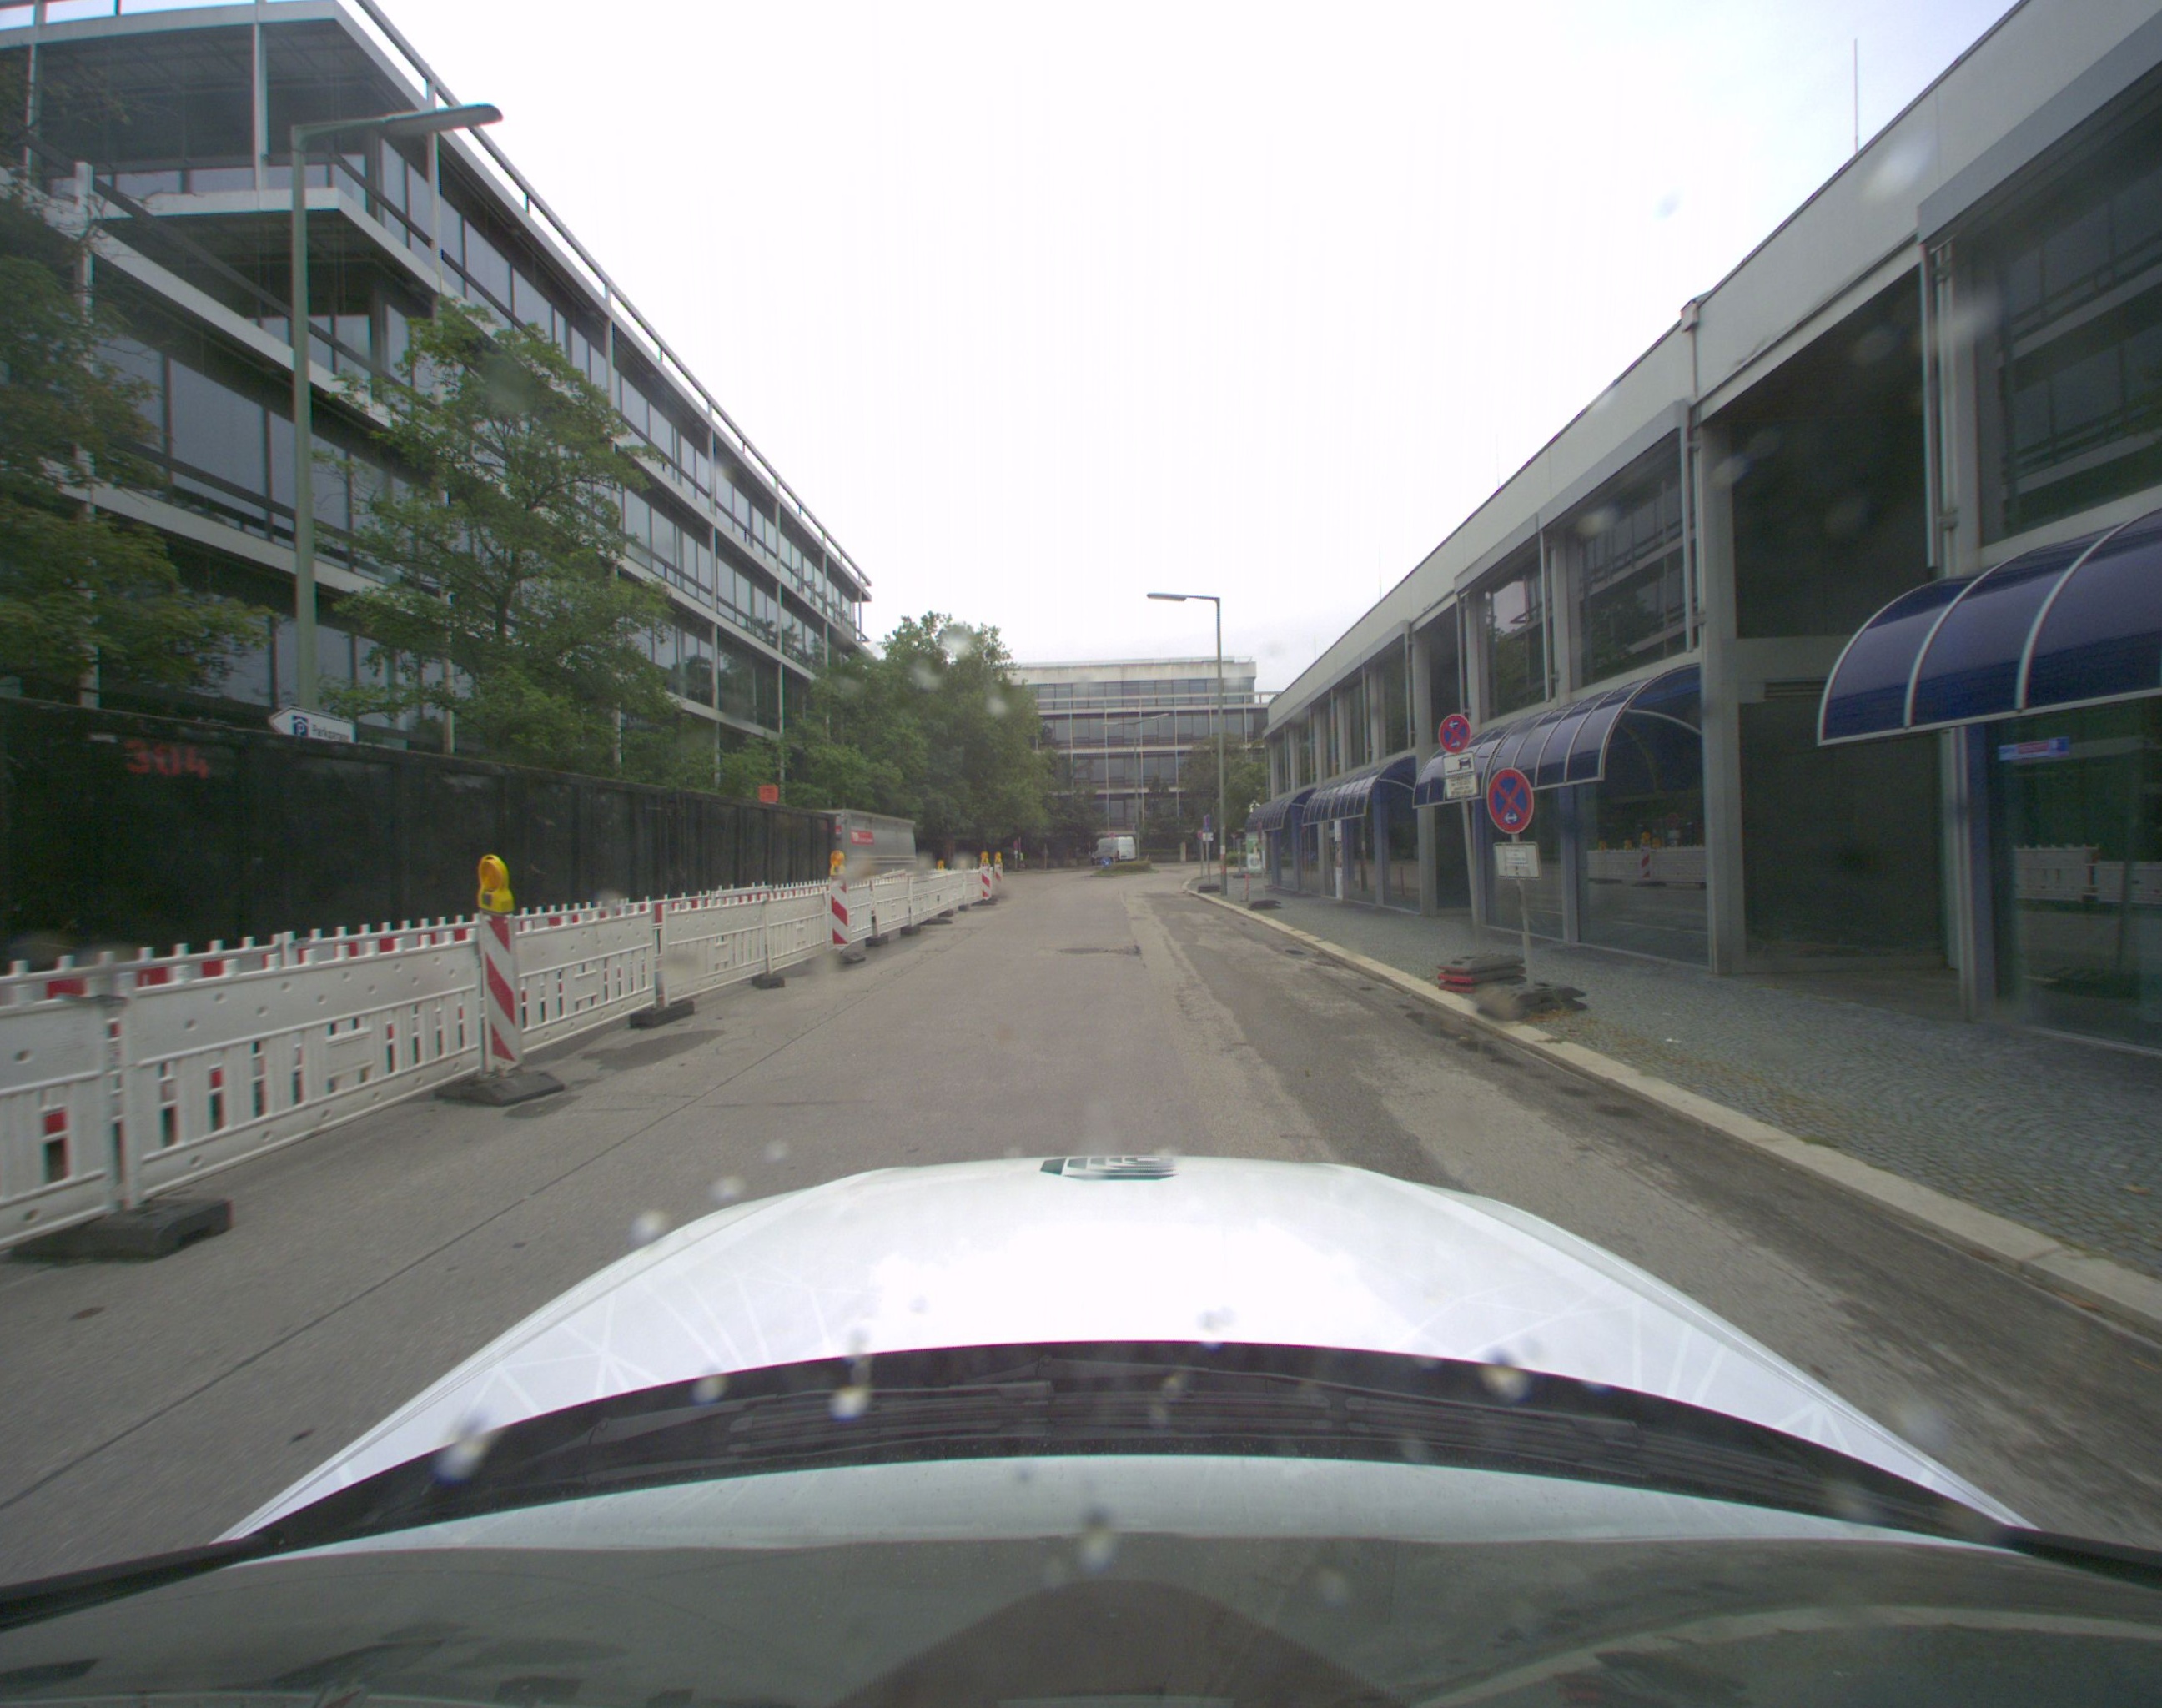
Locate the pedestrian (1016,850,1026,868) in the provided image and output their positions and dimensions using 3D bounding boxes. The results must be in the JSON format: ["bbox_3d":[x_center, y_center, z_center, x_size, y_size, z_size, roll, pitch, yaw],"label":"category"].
[{"bbox_3d":[-5.727,0.464,77.603,0.743,1.677,0.678,-1,0,-18],"label":"pedestrian"}]

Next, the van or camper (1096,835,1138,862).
[{"bbox_3d":[3.429,-0.490,78.692,2.095,2.492,5.027,-1,0,-23],"label":"van or camper"}]

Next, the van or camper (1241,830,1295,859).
[{"bbox_3d":[17.553,-0.889,76.559,4.448,2.585,2.102,-1,0,-9],"label":"van or camper"}]
